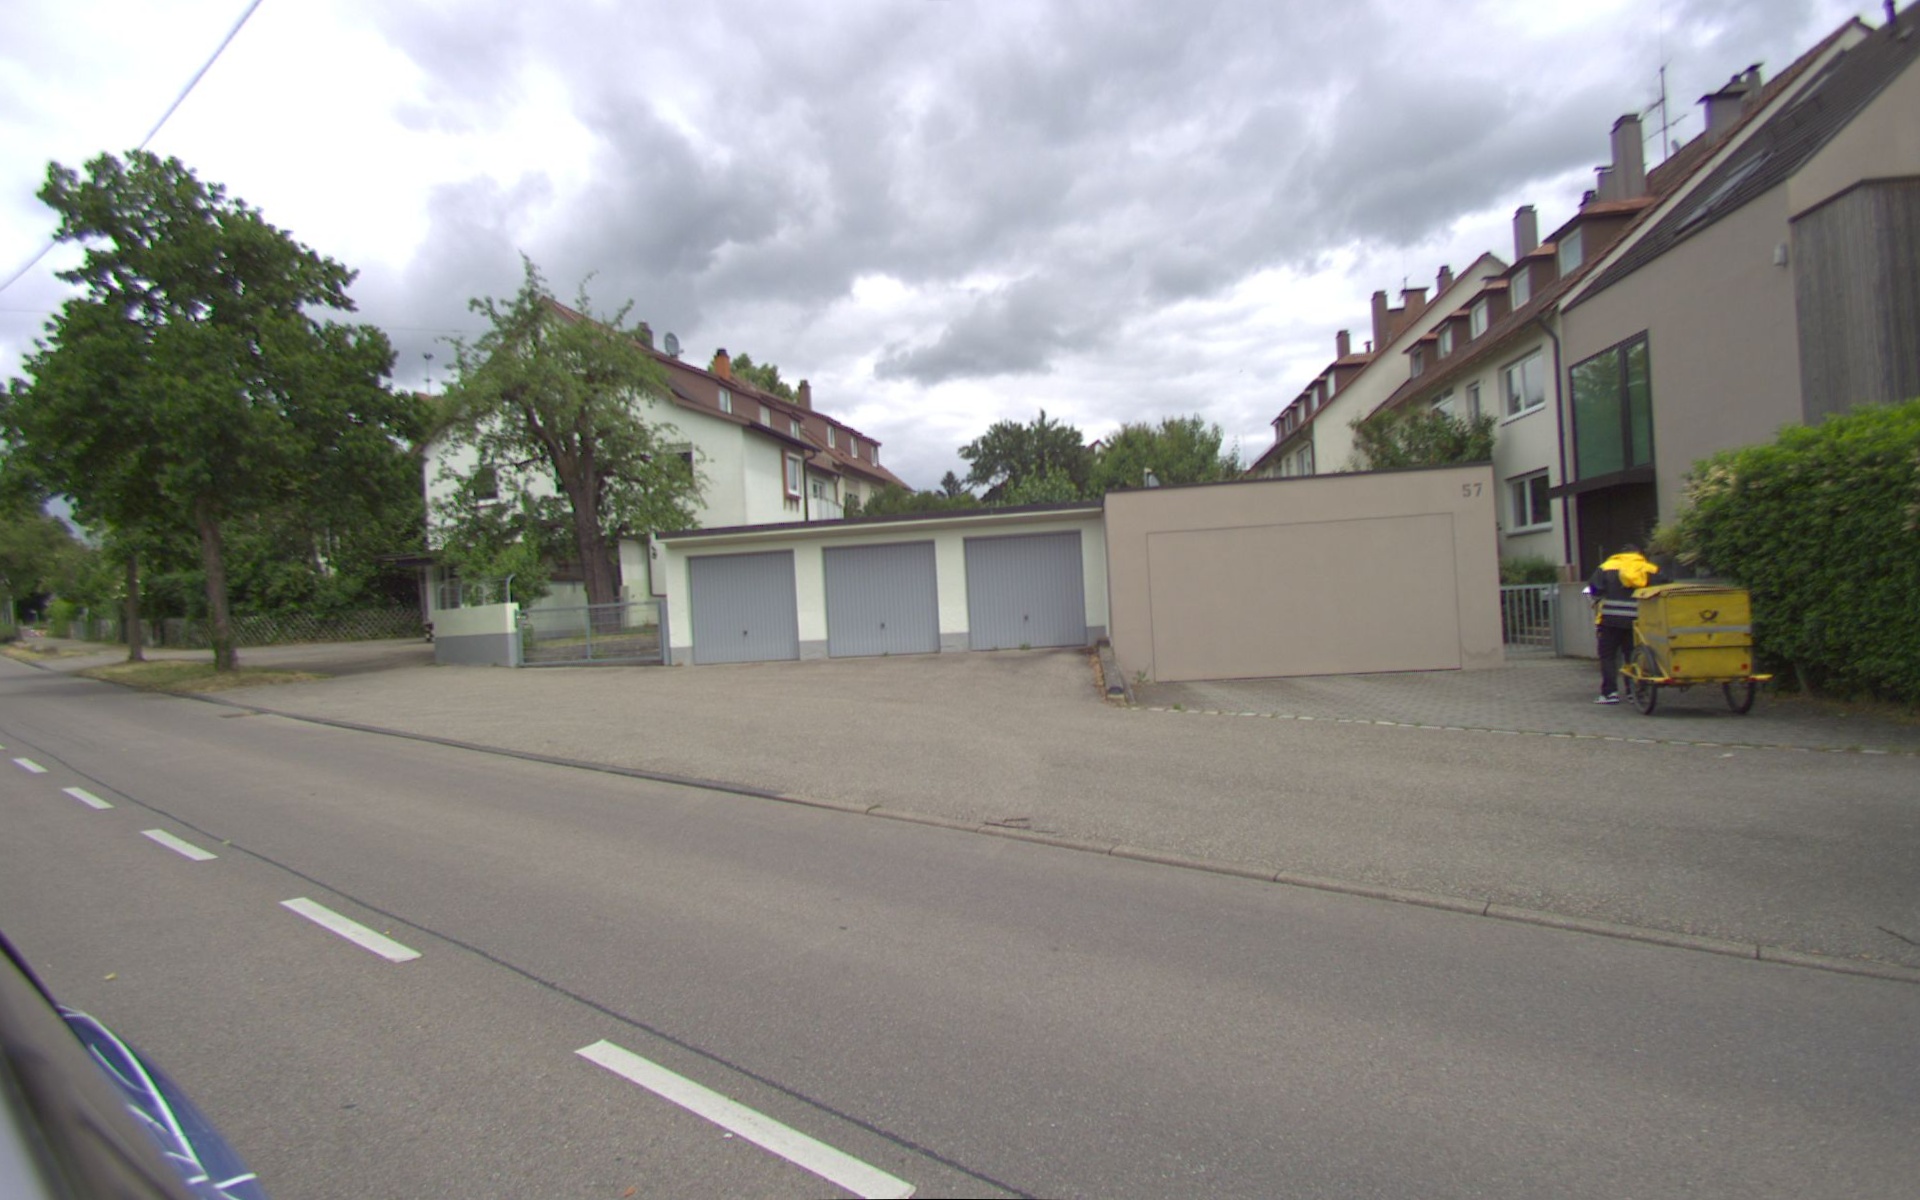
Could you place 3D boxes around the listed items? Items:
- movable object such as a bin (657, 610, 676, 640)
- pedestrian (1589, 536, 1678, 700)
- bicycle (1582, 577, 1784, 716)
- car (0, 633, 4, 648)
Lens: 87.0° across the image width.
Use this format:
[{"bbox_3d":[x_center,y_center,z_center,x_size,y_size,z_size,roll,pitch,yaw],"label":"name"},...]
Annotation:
[{"bbox_3d":[-9.010,0.765,31.063,0.385,0.888,0.457,-2,0,12],"label":"movable object such as a bin"},{"bbox_3d":[7.168,0.193,10.800,0.597,1.687,0.638,-2,0,19],"label":"pedestrian"},{"bbox_3d":[7.236,0.411,10.319,0.840,1.214,2.606,-3,0,18],"label":"bicycle"},{"bbox_3d":[-98.095,4.137,100.841,1.777,1.420,3.994,-2,0,5],"label":"car"}]
